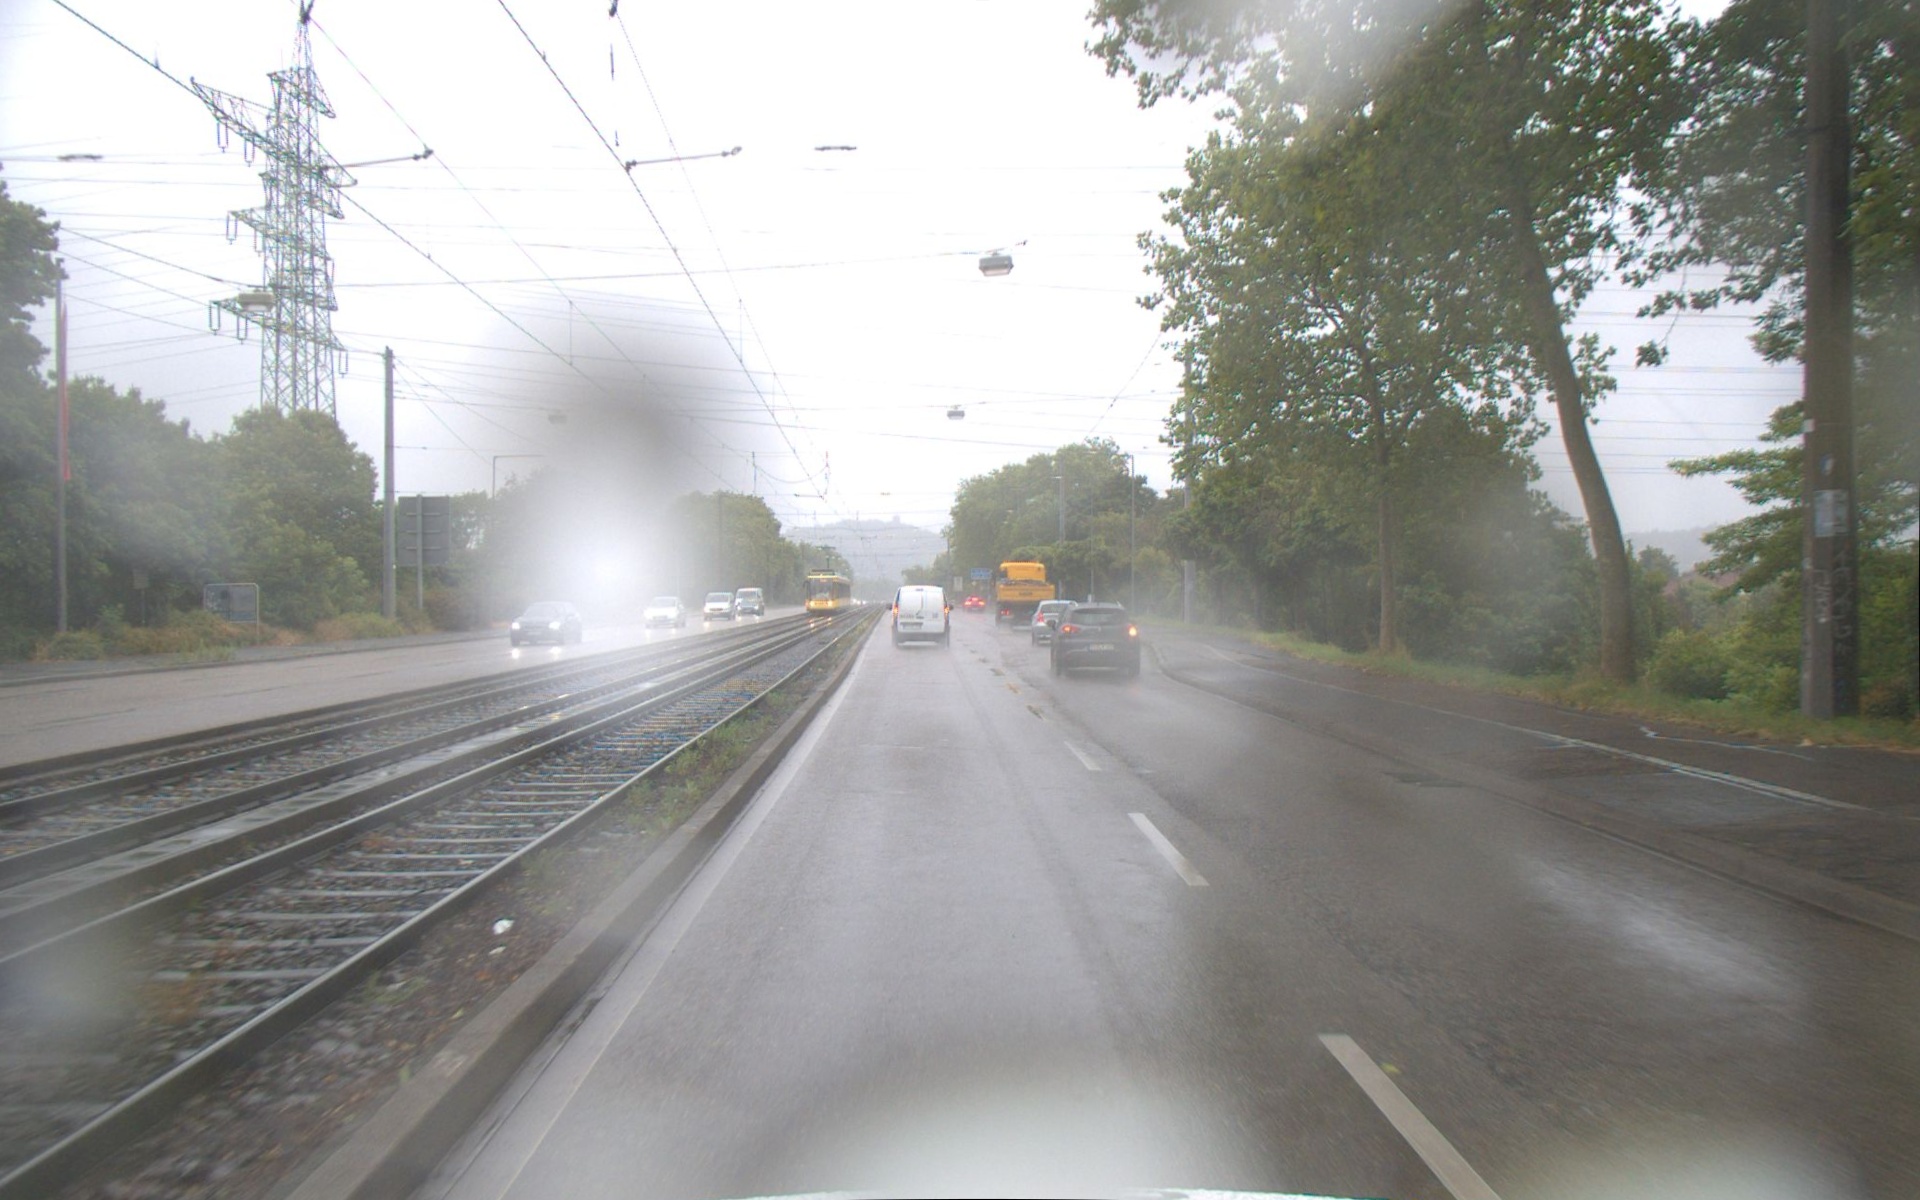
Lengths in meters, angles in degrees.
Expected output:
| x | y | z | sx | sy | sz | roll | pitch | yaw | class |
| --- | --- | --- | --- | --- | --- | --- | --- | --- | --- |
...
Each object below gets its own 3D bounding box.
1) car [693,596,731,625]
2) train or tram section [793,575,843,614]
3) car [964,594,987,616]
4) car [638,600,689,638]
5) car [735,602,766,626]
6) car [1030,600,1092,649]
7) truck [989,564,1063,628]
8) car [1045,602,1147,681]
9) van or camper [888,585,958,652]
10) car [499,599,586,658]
| x | y | z | sx | sy | sz | roll | pitch | yaw | class |
| --- | --- | --- | --- | --- | --- | --- | --- | --- | --- |
| -17.139 | 0.709 | 114.459 | 1.952 | 1.937 | 4.000 | 1 | 0 | 1 | car |
| -11.521 | -0.496 | 135.271 | 2.792 | 2.944 | 14.006 | -1 | 1 | 0 | train or tram section |
| 1.388 | 0.453 | 147.995 | 1.952 | 1.937 | 4.000 | 1 | 0 | 0 | car |
| -15.927 | 0.992 | 88.941 | 1.952 | 1.937 | 4.000 | 1 | 0 | 1 | car |
| -17.064 | 1.130 | 135.063 | 1.952 | 1.937 | 4.000 | 1 | 0 | 1 | car |
| 3.250 | 0.764 | 53.896 | 1.781 | 1.438 | 3.779 | 1 | 1 | 0 | car |
| 2.939 | -0.202 | 75.785 | 3.049 | 2.821 | 6.328 | 0 | 1 | -1 | truck |
| 2.748 | 0.813 | 34.121 | 1.781 | 1.438 | 3.779 | 1 | 1 | 0 | car |
| -1.164 | 0.514 | 49.850 | 1.954 | 1.815 | 3.998 | 1 | 1 | -3 | van or camper |
| -14.524 | 0.955 | 57.783 | 1.952 | 1.937 | 4.000 | 1 | 0 | 1 | car |
